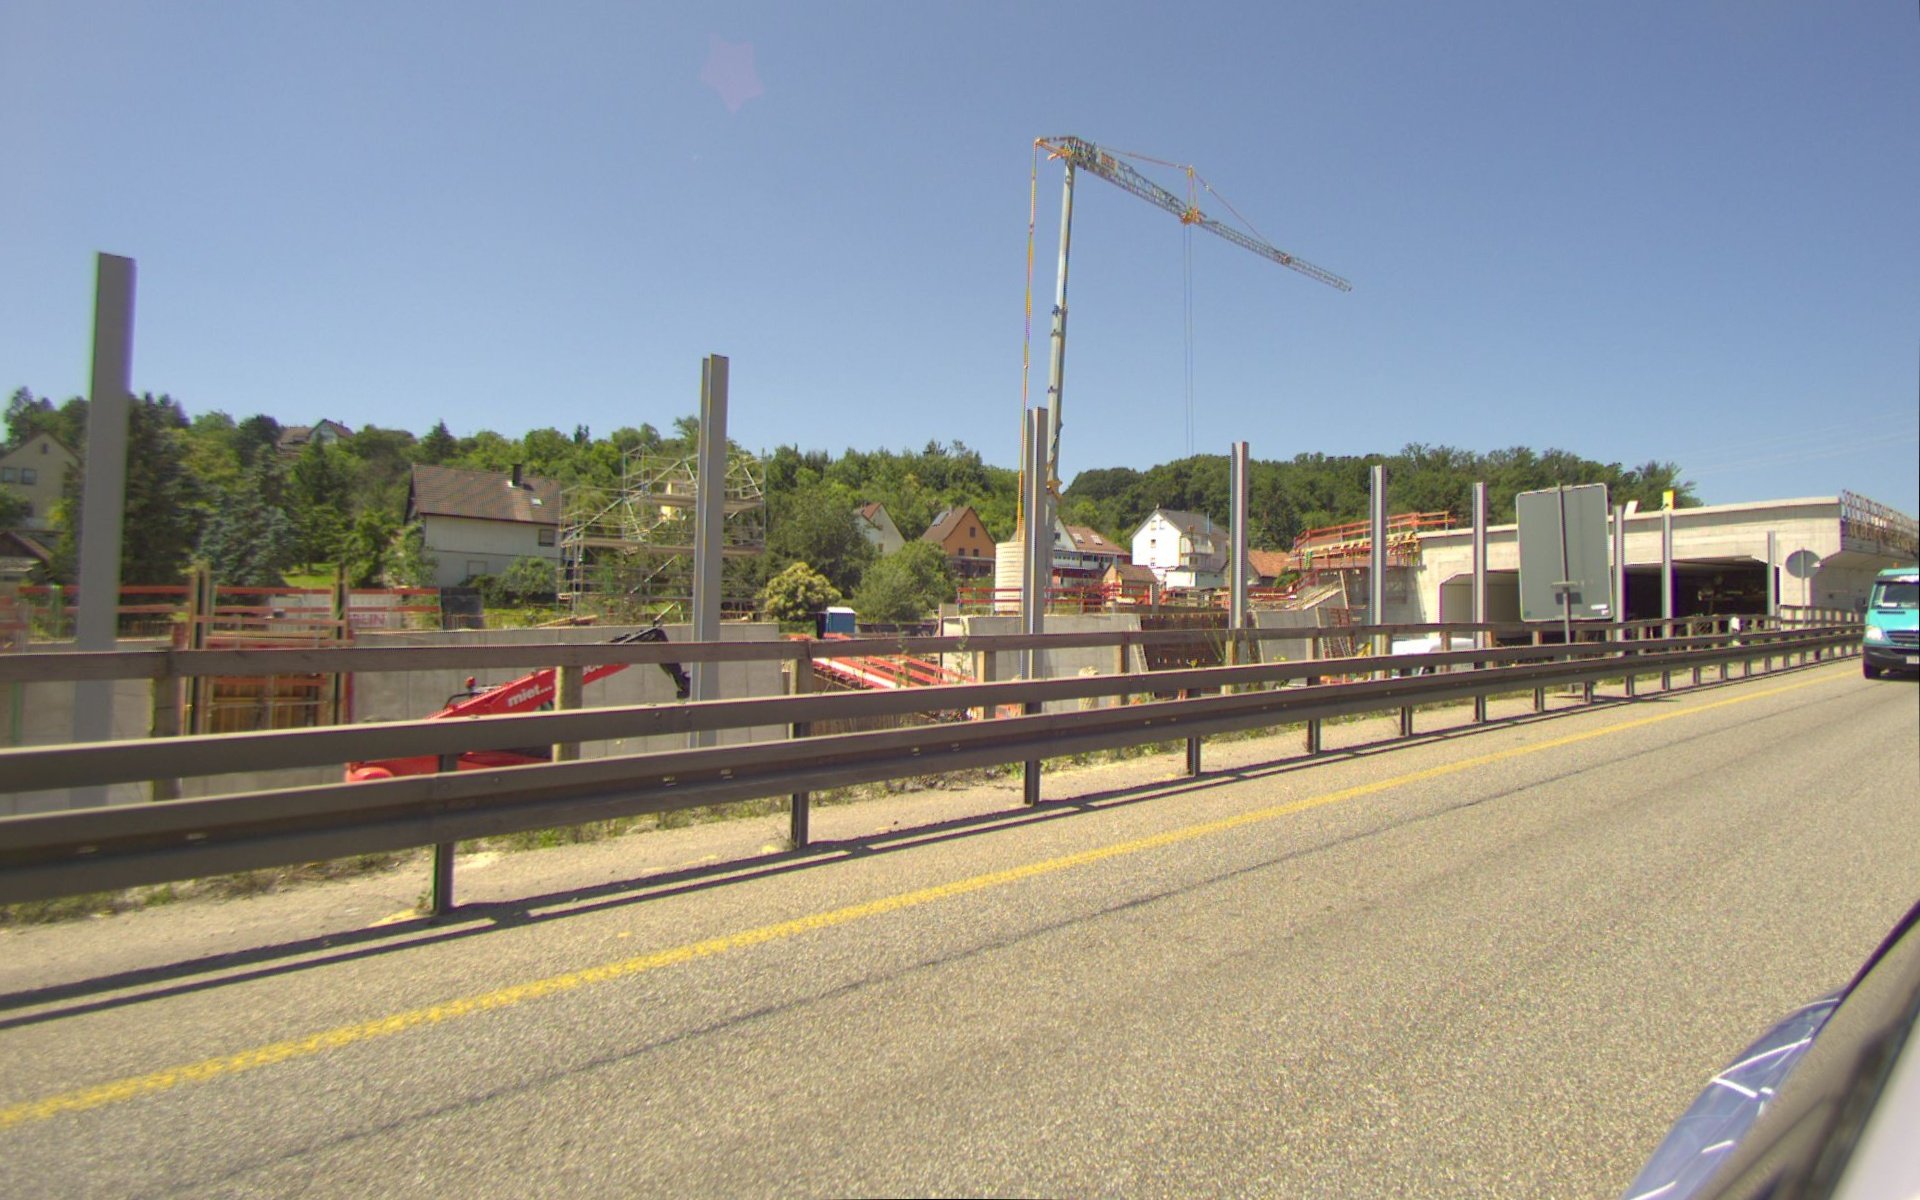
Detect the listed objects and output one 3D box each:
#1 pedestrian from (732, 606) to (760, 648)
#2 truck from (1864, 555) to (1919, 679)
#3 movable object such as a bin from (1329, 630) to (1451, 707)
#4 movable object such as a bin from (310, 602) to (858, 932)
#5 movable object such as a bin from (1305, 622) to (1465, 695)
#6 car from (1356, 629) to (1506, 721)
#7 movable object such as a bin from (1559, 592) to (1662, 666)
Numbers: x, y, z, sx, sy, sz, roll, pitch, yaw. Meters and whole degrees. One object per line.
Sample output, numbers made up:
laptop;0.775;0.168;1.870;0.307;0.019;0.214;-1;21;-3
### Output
pedestrian;-10.521;1.314;49.756;0.954;2.012;1.140;-1;0;-37
truck;21.459;0.244;21.650;7.302;2.387;2.138;-2;1;-40
movable object such as a bin;17.802;2.722;41.801;5.397;2.710;2.151;-1;1;-36
movable object such as a bin;-6.839;2.563;19.788;9.488;4.802;3.233;-2;1;-41
movable object such as a bin;21.443;3.080;51.611;3.425;2.941;7.159;-1;-8;-18
car;17.860;2.688;38.180;6.893;2.891;2.151;-1;1;-37
movable object such as a bin;40.224;1.665;62.442;8.997;4.113;2.959;-2;1;-41
